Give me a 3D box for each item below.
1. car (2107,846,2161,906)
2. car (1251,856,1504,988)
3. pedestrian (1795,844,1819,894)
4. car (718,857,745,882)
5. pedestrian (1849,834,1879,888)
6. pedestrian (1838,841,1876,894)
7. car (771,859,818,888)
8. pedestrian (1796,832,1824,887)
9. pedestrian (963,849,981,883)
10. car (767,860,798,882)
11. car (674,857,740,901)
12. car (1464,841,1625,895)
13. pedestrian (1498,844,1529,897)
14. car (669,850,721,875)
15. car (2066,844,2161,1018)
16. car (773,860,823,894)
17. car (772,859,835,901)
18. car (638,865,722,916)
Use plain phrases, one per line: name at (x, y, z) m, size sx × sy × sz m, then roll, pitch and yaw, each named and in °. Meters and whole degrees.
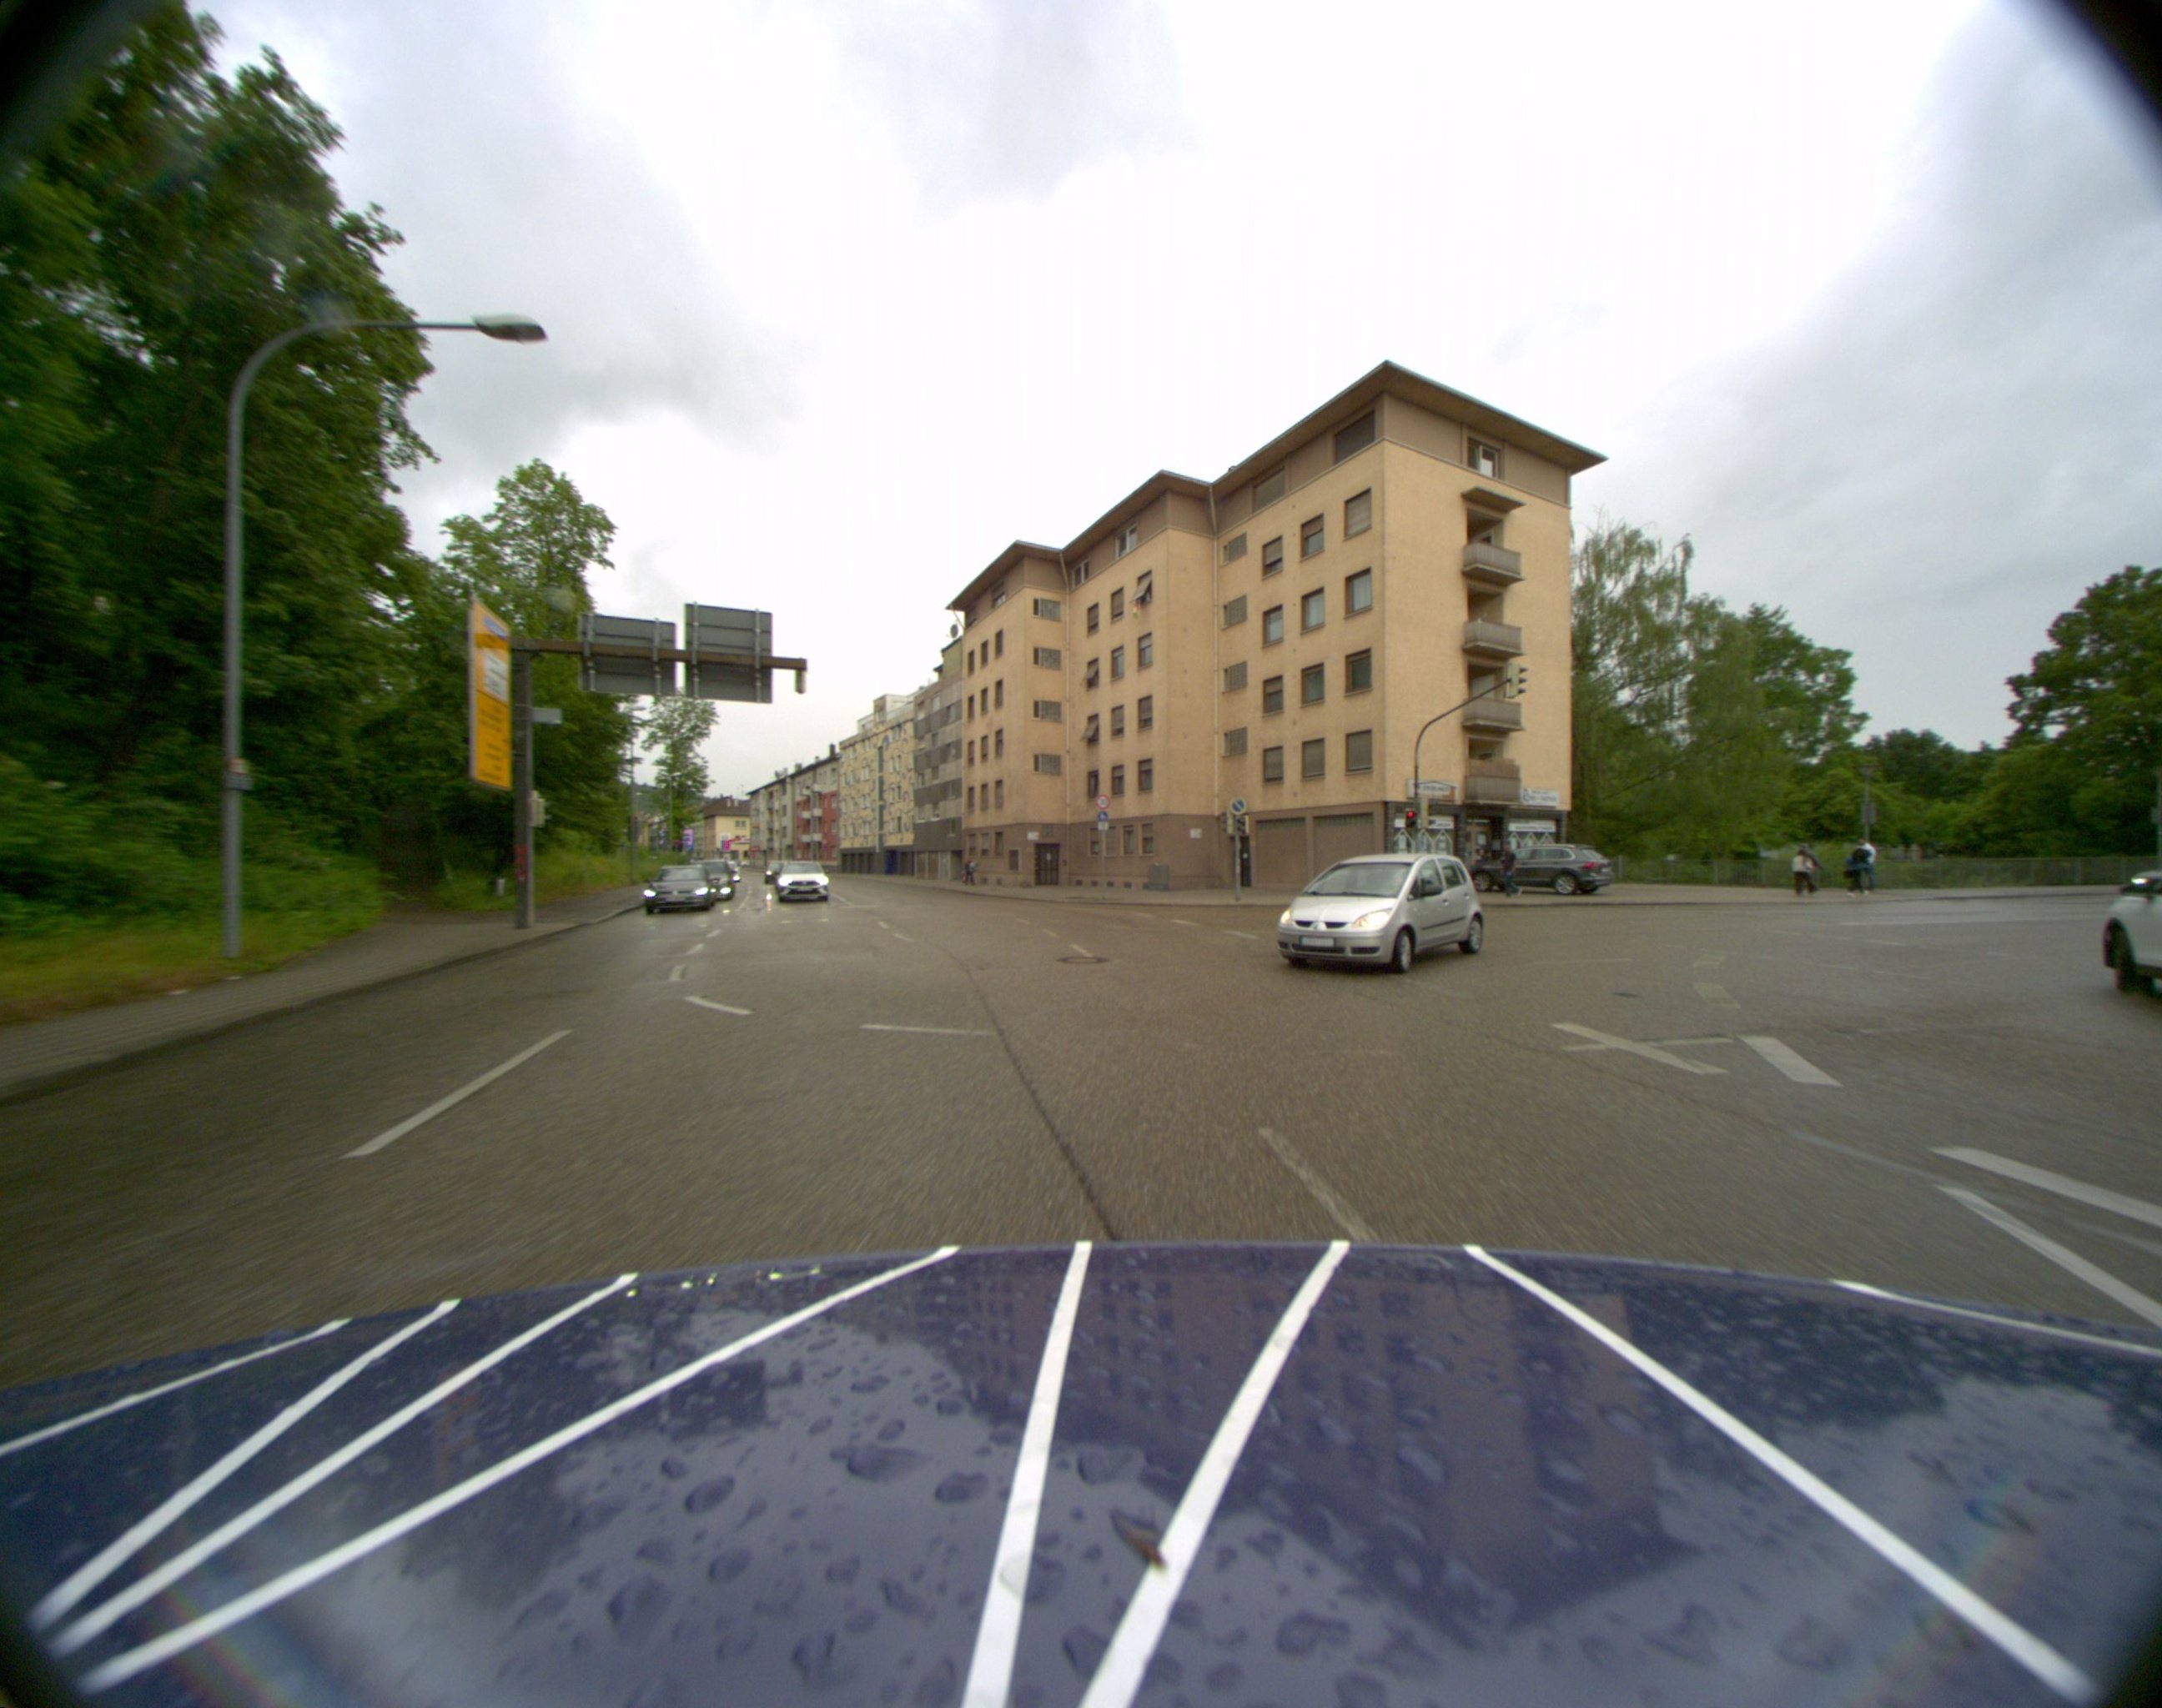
car at (28.389, 0.524, 18.652) m, size 4.506 × 1.454 × 1.998 m, roll 0°, pitch 0°, yaw -10°
car at (4.420, 0.831, 11.050) m, size 4.008 × 1.510 × 1.749 m, roll -1°, pitch 0°, yaw -41°
pedestrian at (22.839, 0.468, 23.894) m, size 0.443 × 1.574 × 0.461 m, roll -1°, pitch 1°, yaw -35°
car at (-24.573, 1.048, 53.366) m, size 1.684 × 1.646 × 3.991 m, roll 0°, pitch 0°, yaw -25°
pedestrian at (26.305, 0.229, 25.532) m, size 0.508 × 1.793 × 0.498 m, roll 0°, pitch 1°, yaw 16°
pedestrian at (24.287, 0.411, 23.787) m, size 0.701 × 1.637 × 0.661 m, roll 0°, pitch 1°, yaw 33°
car at (-15.669, 0.992, 41.427) m, size 2.003 × 1.469 × 4.610 m, roll 0°, pitch 0°, yaw -25°
pedestrian at (24.195, 0.171, 25.217) m, size 0.558 × 1.793 × 0.477 m, roll 0°, pitch 1°, yaw 30°
pedestrian at (-6.493, 0.722, 45.259) m, size 0.812 × 2.001 × 0.857 m, roll -1°, pitch 0°, yaw -26°
car at (-19.538, 1.079, 49.591) m, size 1.714 × 1.385 × 3.992 m, roll 0°, pitch 0°, yaw -24°
car at (-15.116, 0.951, 30.940) m, size 2.002 × 1.607 × 4.611 m, roll -1°, pitch 0°, yaw -22°
car at (15.512, 0.385, 25.652) m, size 1.763 × 1.638 × 4.270 m, roll -1°, pitch 2°, yaw -36°
pedestrian at (13.385, 0.511, 23.519) m, size 0.582 × 1.629 × 0.618 m, roll 0°, pitch 0°, yaw -5°
car at (-31.823, 0.696, 62.582) m, size 4.475 × 2.002 × 2.004 m, roll 0°, pitch 0°, yaw 37°
car at (10.963, 0.729, 6.596) m, size 1.839 × 1.661 × 4.483 m, roll 0°, pitch 0°, yaw 37°
car at (-13.408, 1.014, 35.878) m, size 1.923 × 1.469 × 4.610 m, roll 0°, pitch 0°, yaw -24°
car at (-10.703, 0.929, 29.090) m, size 1.882 × 1.469 × 4.545 m, roll 0°, pitch 0°, yaw -25°
car at (-12.749, 1.089, 24.404) m, size 1.822 × 1.400 × 4.224 m, roll -1°, pitch 0°, yaw -21°
